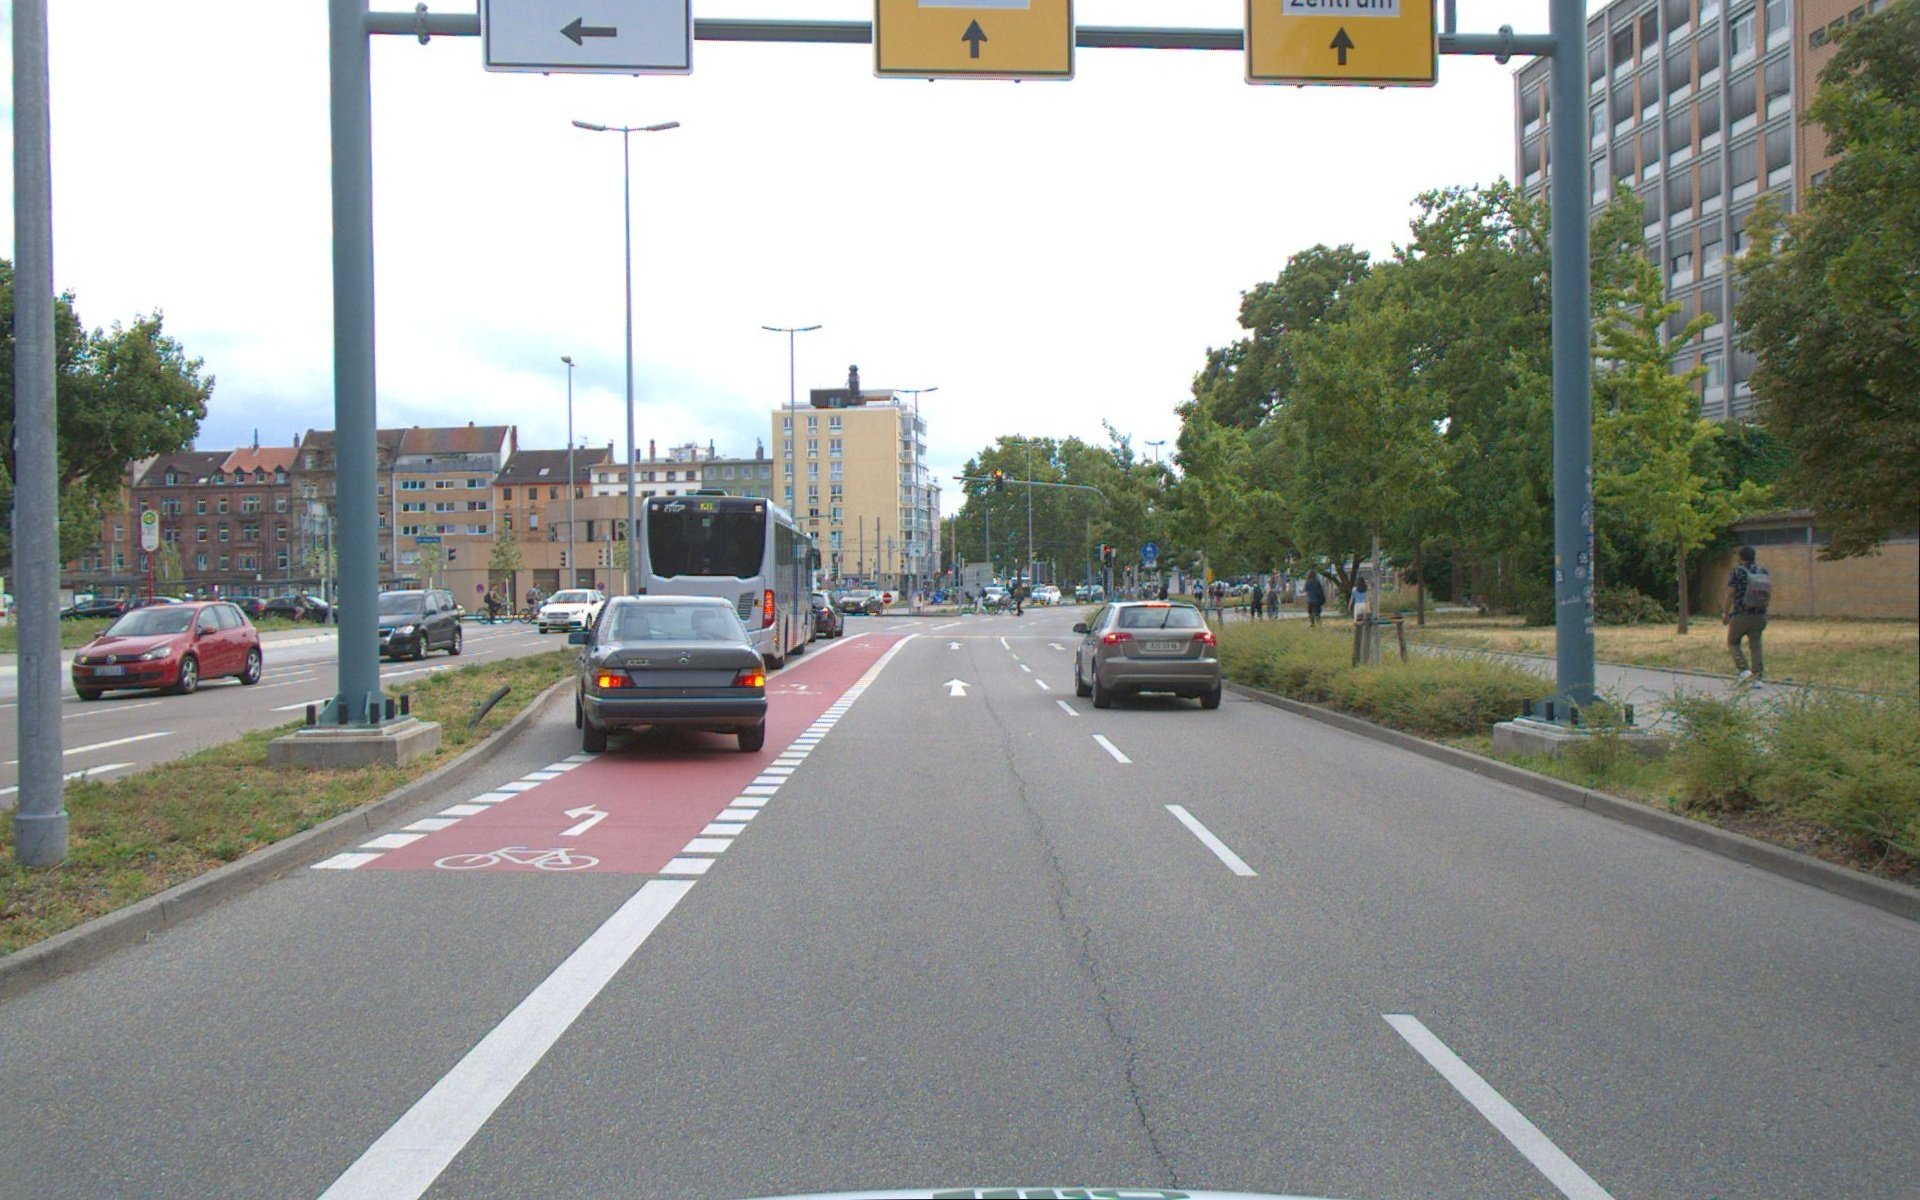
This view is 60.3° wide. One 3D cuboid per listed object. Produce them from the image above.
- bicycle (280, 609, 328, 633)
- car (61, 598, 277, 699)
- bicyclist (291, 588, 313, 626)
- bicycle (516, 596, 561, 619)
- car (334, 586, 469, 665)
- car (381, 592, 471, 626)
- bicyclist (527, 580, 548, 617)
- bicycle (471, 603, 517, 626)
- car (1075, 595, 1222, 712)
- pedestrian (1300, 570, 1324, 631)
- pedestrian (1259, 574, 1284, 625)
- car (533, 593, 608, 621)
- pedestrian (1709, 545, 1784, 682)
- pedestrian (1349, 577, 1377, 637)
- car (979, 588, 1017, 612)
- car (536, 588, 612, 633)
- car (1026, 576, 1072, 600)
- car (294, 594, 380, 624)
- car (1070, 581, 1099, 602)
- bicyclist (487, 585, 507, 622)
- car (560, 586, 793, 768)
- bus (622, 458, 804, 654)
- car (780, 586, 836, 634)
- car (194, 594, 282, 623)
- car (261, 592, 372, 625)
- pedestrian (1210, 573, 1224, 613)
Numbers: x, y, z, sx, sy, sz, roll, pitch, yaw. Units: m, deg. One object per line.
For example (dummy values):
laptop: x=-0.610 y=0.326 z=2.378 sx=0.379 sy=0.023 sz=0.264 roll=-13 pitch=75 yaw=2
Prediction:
bicycle: x=-29.987 y=0.956 z=75.628 sx=1.926 sy=0.999 sz=0.630 roll=-1 pitch=0 yaw=-6
car: x=-13.249 y=0.755 z=28.011 sx=1.766 sy=1.515 sz=4.286 roll=-1 pitch=1 yaw=-3
bicyclist: x=-30.063 y=0.316 z=75.594 sx=0.771 sy=1.672 sz=0.572 roll=-1 pitch=0 yaw=-6
bicycle: x=-19.476 y=0.334 z=76.395 sx=1.925 sy=0.999 sz=0.630 roll=-1 pitch=0 yaw=-4
car: x=-13.205 y=0.556 z=39.367 sx=1.765 sy=1.694 sz=4.299 roll=-3 pitch=1 yaw=-1
car: x=-25.411 y=0.420 z=78.816 sx=3.782 sy=1.544 sz=1.658 roll=0 pitch=0 yaw=-6
bicyclist: x=-19.512 y=-0.082 z=76.395 sx=0.771 sy=1.672 sz=0.613 roll=-1 pitch=0 yaw=-4
bicycle: x=-21.572 y=0.667 z=76.546 sx=1.925 sy=0.999 sz=0.631 roll=-1 pitch=0 yaw=-2
car: x=2.598 y=0.695 z=23.554 sx=1.689 sy=1.483 sz=3.736 roll=-1 pitch=1 yaw=0
pedestrian: x=10.191 y=0.005 z=47.843 sx=0.632 sy=1.743 sz=0.562 roll=-1 pitch=0 yaw=14
pedestrian: x=10.730 y=-0.030 z=56.978 sx=0.784 sy=1.743 sz=0.765 roll=-1 pitch=0 yaw=12
car: x=-20.198 y=0.372 z=85.806 sx=3.620 sy=1.419 sz=1.575 roll=0 pitch=0 yaw=-21
pedestrian: x=10.091 y=0.169 z=21.235 sx=0.575 sy=1.712 sz=0.748 roll=-1 pitch=0 yaw=-1
pedestrian: x=10.258 y=0.175 z=42.080 sx=0.643 sy=1.496 sz=0.562 roll=-1 pitch=0 yaw=16
car: x=2.878 y=0.009 z=125.803 sx=1.951 sy=1.732 sz=4.003 roll=-1 pitch=1 yaw=15
car: x=-13.075 y=0.335 z=56.180 sx=1.636 sy=1.413 sz=3.922 roll=-2 pitch=1 yaw=0
car: x=8.153 y=-1.122 z=151.088 sx=2.530 sy=2.146 sz=5.600 roll=-1 pitch=1 yaw=22
car: x=-31.071 y=0.451 z=82.514 sx=3.690 sy=1.419 sz=1.583 roll=1 pitch=0 yaw=-6
car: x=12.176 y=-0.837 z=161.235 sx=1.769 sy=1.883 sz=4.001 roll=-1 pitch=1 yaw=19
bicyclist: x=-21.441 y=0.161 z=76.572 sx=0.771 sy=1.672 sz=0.572 roll=-1 pitch=0 yaw=-3
car: x=-2.905 y=0.636 z=16.239 sx=1.733 sy=1.515 sz=4.151 roll=-1 pitch=1 yaw=-17
bus: x=-4.794 y=-0.841 z=33.592 sx=2.775 sy=3.449 sz=8.179 roll=-1 pitch=1 yaw=-3
car: x=-4.792 y=0.280 z=52.427 sx=1.622 sy=1.421 sz=3.858 roll=-1 pitch=1 yaw=-3
car: x=-35.943 y=0.423 z=82.354 sx=3.690 sy=1.419 sz=1.583 roll=1 pitch=0 yaw=-6
car: x=-30.346 y=0.388 z=78.132 sx=4.579 sy=1.501 sz=1.658 roll=1 pitch=0 yaw=-6
pedestrian: x=13.038 y=-0.364 z=83.863 sx=0.601 sy=2.049 sz=0.597 roll=0 pitch=0 yaw=-2
